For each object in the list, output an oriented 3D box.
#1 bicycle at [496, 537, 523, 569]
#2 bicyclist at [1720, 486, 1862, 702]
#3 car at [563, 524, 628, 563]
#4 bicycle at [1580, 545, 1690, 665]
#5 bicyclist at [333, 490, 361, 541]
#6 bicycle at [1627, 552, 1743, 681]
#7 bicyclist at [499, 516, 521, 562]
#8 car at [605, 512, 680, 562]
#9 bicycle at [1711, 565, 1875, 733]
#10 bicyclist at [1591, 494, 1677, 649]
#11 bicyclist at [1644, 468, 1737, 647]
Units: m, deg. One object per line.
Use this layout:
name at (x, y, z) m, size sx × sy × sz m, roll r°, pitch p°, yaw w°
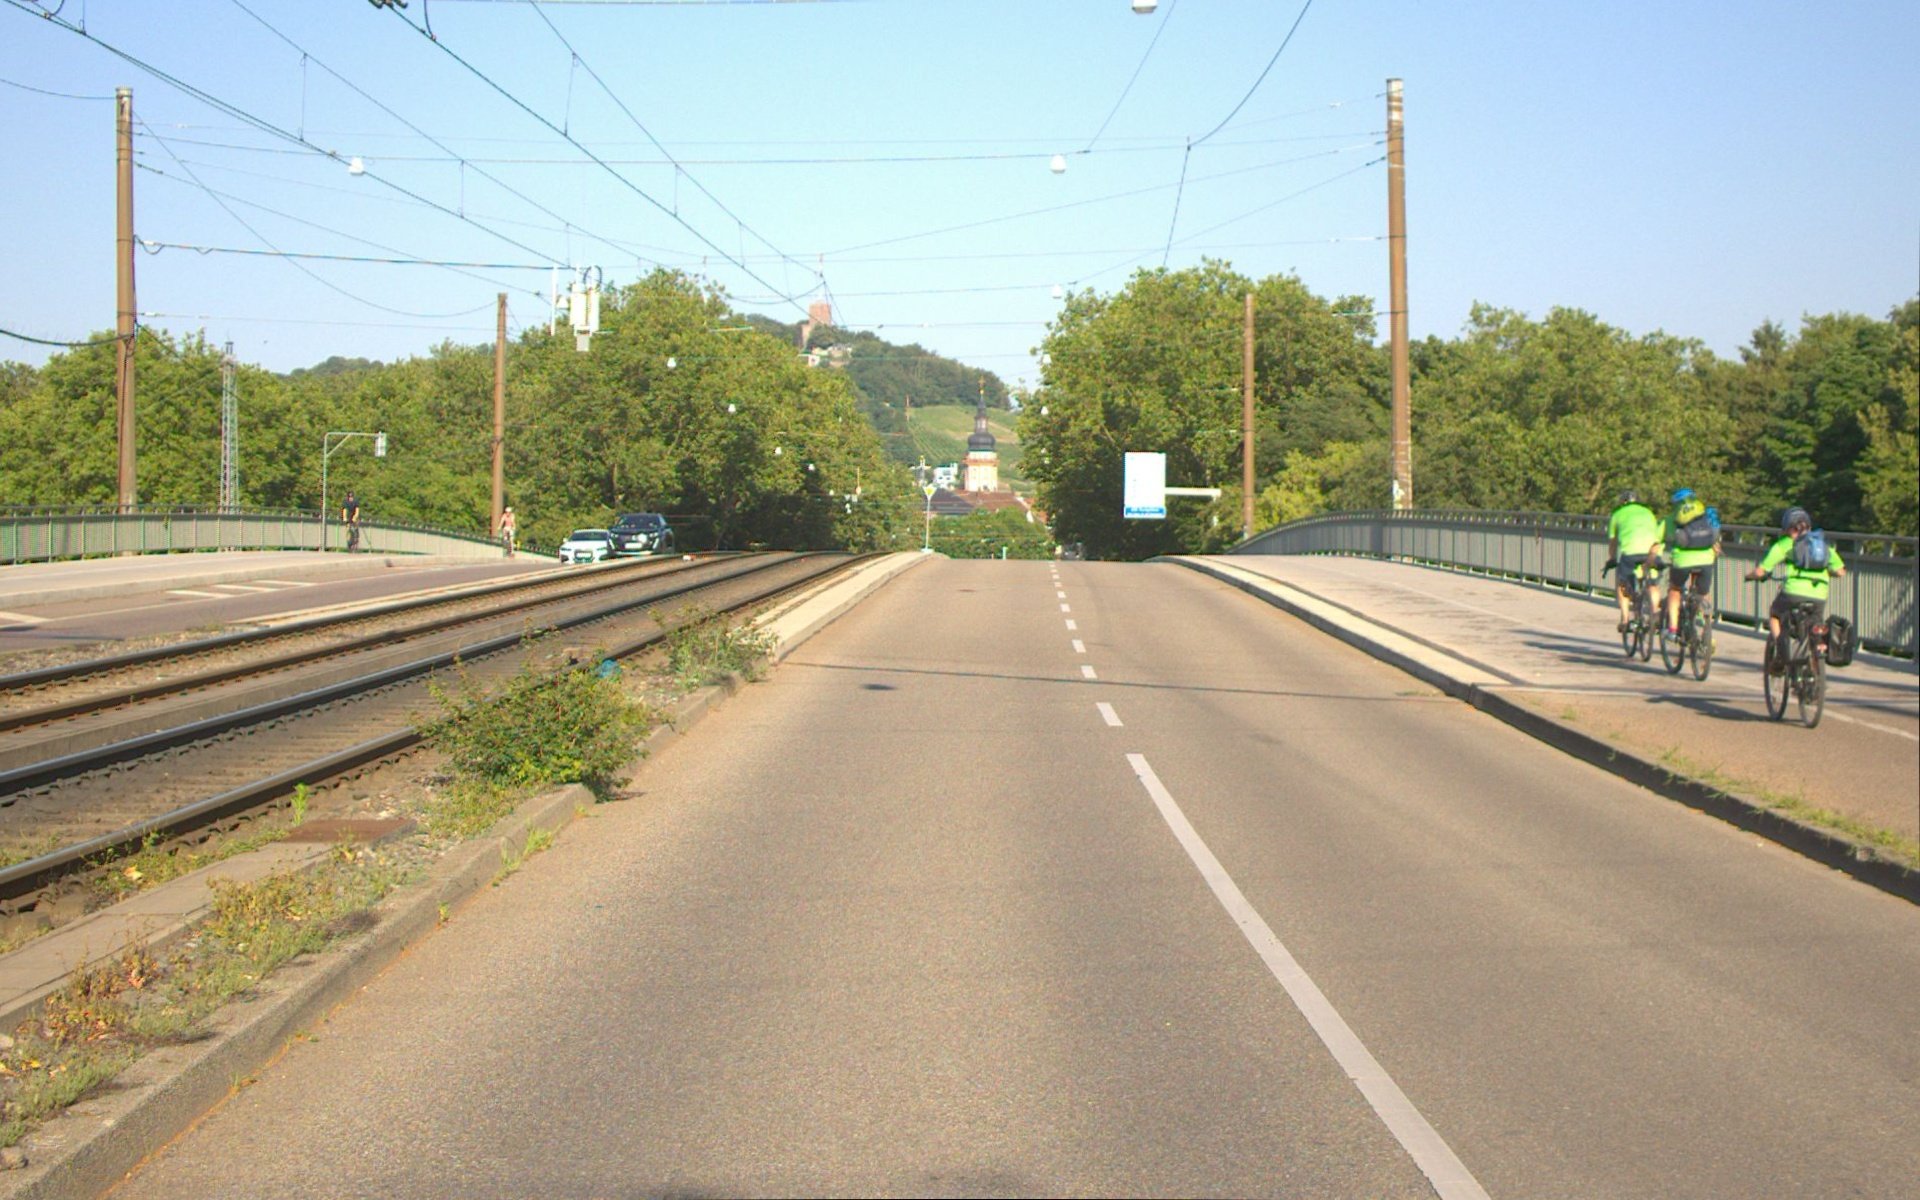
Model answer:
bicycle at (-16.031, -1.687, 122.376) m, size 0.625 × 1.118 × 2.260 m, roll 1°, pitch 1°, yaw 1°
bicyclist at (6.149, -0.058, 25.482) m, size 0.812 × 1.557 × 0.896 m, roll 1°, pitch 2°, yaw 1°
car at (-12.886, -2.001, 121.897) m, size 1.684 × 1.351 × 4.920 m, roll 1°, pitch 1°, yaw 1°
bicycle at (6.633, 0.027, 33.887) m, size 0.625 × 1.118 × 2.260 m, roll 1°, pitch 1°, yaw 0°
bicyclist at (-17.164, -2.366, 96.235) m, size 0.625 × 1.427 × 0.969 m, roll 1°, pitch 1°, yaw -2°
bicycle at (6.539, 0.127, 31.104) m, size 0.625 × 1.118 × 2.042 m, roll 1°, pitch 1°, yaw 1°
bicyclist at (-16.019, -2.164, 122.385) m, size 0.625 × 1.627 × 0.935 m, roll 1°, pitch 1°, yaw 1°
car at (-9.869, -1.964, 107.163) m, size 1.849 × 1.497 × 4.219 m, roll 1°, pitch 1°, yaw 1°
bicycle at (6.154, 0.336, 25.513) m, size 0.683 × 1.118 × 2.216 m, roll 1°, pitch 2°, yaw 1°
bicyclist at (6.639, -0.288, 33.920) m, size 0.625 × 1.503 × 1.006 m, roll 1°, pitch 1°, yaw 0°
bicyclist at (6.582, -0.385, 30.989) m, size 0.625 × 1.587 × 0.931 m, roll 1°, pitch 1°, yaw 1°
